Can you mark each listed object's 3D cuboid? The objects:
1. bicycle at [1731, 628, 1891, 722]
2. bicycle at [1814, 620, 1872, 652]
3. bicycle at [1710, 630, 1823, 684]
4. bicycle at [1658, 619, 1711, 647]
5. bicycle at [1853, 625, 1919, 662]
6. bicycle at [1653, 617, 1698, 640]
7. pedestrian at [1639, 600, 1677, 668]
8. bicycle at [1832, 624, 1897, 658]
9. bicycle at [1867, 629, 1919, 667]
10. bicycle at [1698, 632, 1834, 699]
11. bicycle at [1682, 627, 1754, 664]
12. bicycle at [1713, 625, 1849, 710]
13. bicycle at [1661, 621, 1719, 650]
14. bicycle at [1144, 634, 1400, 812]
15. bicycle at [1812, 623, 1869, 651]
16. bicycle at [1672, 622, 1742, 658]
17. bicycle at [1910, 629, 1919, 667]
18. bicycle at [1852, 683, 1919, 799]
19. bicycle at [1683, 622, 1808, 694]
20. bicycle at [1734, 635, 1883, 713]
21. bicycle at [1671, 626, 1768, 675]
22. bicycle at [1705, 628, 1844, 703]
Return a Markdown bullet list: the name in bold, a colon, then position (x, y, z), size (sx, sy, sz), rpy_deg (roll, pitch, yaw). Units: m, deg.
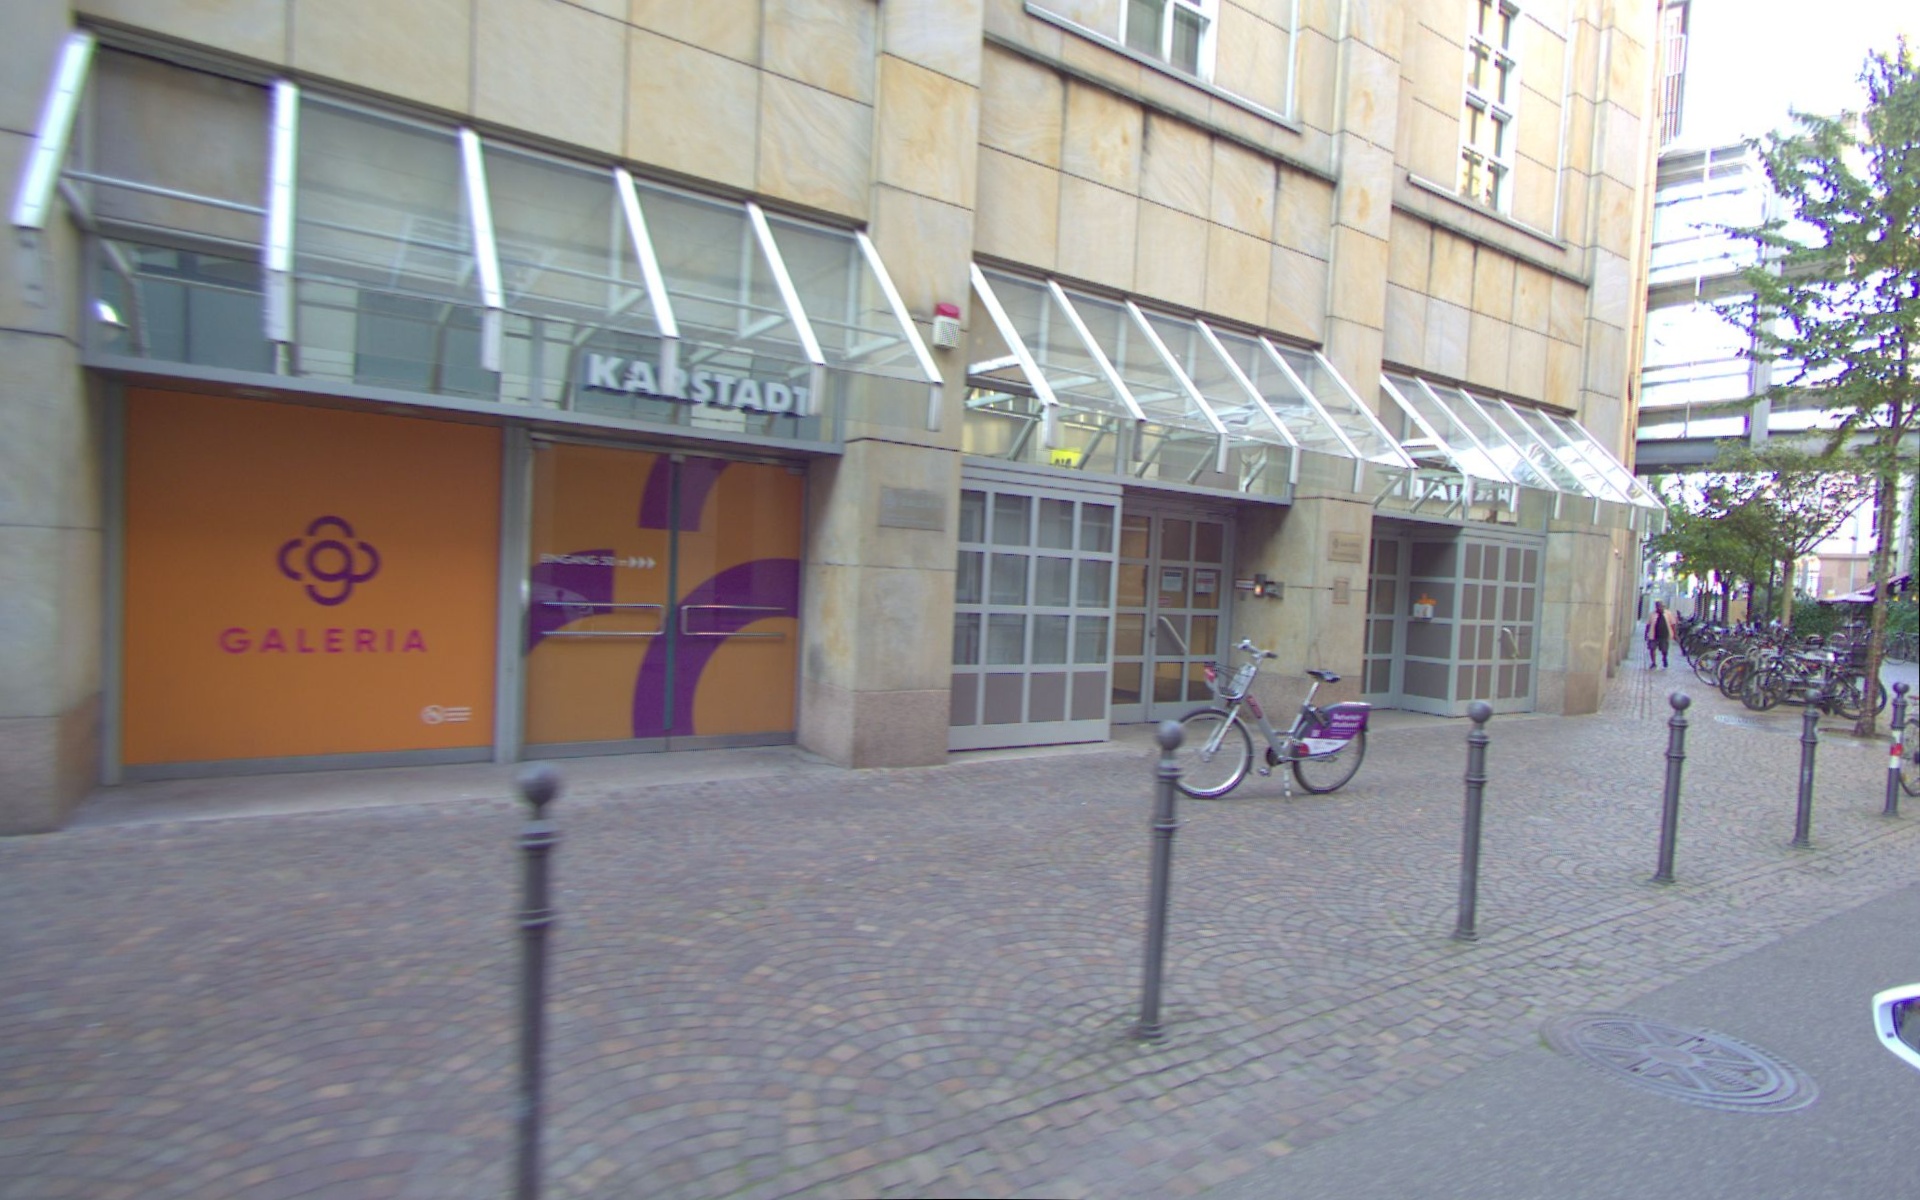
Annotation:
- **bicycle**: position (12.734, 1.096, 15.097), size (1.742, 1.247, 0.532), rpy_deg (3, 1, 34)
- **bicycle**: position (37.091, 1.509, 42.213), size (1.750, 1.206, 0.584), rpy_deg (3, 1, 36)
- **bicycle**: position (17.714, 1.234, 22.107), size (1.851, 1.057, 0.532), rpy_deg (2, 1, 34)
- **bicycle**: position (32.782, 1.487, 45.466), size (1.878, 1.127, 0.480), rpy_deg (2, 1, 34)
- **bicycle**: position (31.575, 1.479, 34.125), size (1.750, 1.129, 0.541), rpy_deg (3, 1, 36)
- **bicycle**: position (38.423, 1.545, 53.948), size (1.877, 1.127, 0.480), rpy_deg (2, 1, 32)
- **pedestrian**: position (17.104, 0.824, 24.633), size (0.688, 1.603, 0.717), rpy_deg (3, 1, 34)
- **bicycle**: position (33.921, 1.522, 37.696), size (1.751, 1.129, 0.540), rpy_deg (3, 2, 39)
- **bicycle**: position (30.544, 1.558, 32.448), size (1.750, 1.129, 0.541), rpy_deg (3, 1, 36)
- **bicycle**: position (14.806, 1.184, 18.512), size (1.868, 1.066, 0.532), rpy_deg (2, 1, 34)
- **bicycle**: position (23.733, 1.402, 31.484), size (1.755, 1.033, 0.480), rpy_deg (2, 1, 34)
- **bicycle**: position (13.376, 1.076, 16.417), size (1.631, 1.247, 0.532), rpy_deg (3, 1, 34)
- **bicycle**: position (30.334, 1.467, 41.785), size (1.878, 1.127, 0.480), rpy_deg (2, 1, 34)
- **bicycle**: position (2.235, 0.852, 7.192), size (1.737, 1.153, 0.521), rpy_deg (2, 1, -18)
- **bicycle**: position (37.820, 1.570, 43.156), size (1.750, 1.093, 0.584), rpy_deg (3, 1, 36)
- **bicycle**: position (24.098, 1.284, 32.435), size (1.755, 1.033, 0.480), rpy_deg (2, 1, 34)
- **bicycle**: position (29.626, 1.488, 29.961), size (1.750, 1.129, 0.541), rpy_deg (3, 1, 36)
- **bicycle**: position (9.008, 1.270, 9.191), size (1.634, 0.951, 0.492), rpy_deg (2, 3, -20)
- **bicycle**: position (15.069, 1.095, 19.324), size (1.808, 1.241, 0.532), rpy_deg (2, 1, 34)
- **bicycle**: position (14.158, 1.211, 16.832), size (1.811, 1.137, 0.532), rpy_deg (2, 1, 34)
- **bicycle**: position (18.344, 1.212, 24.305), size (1.799, 1.057, 0.532), rpy_deg (2, 1, 34)
- **bicycle**: position (14.531, 1.149, 17.978), size (1.846, 1.193, 0.532), rpy_deg (2, 1, 34)
